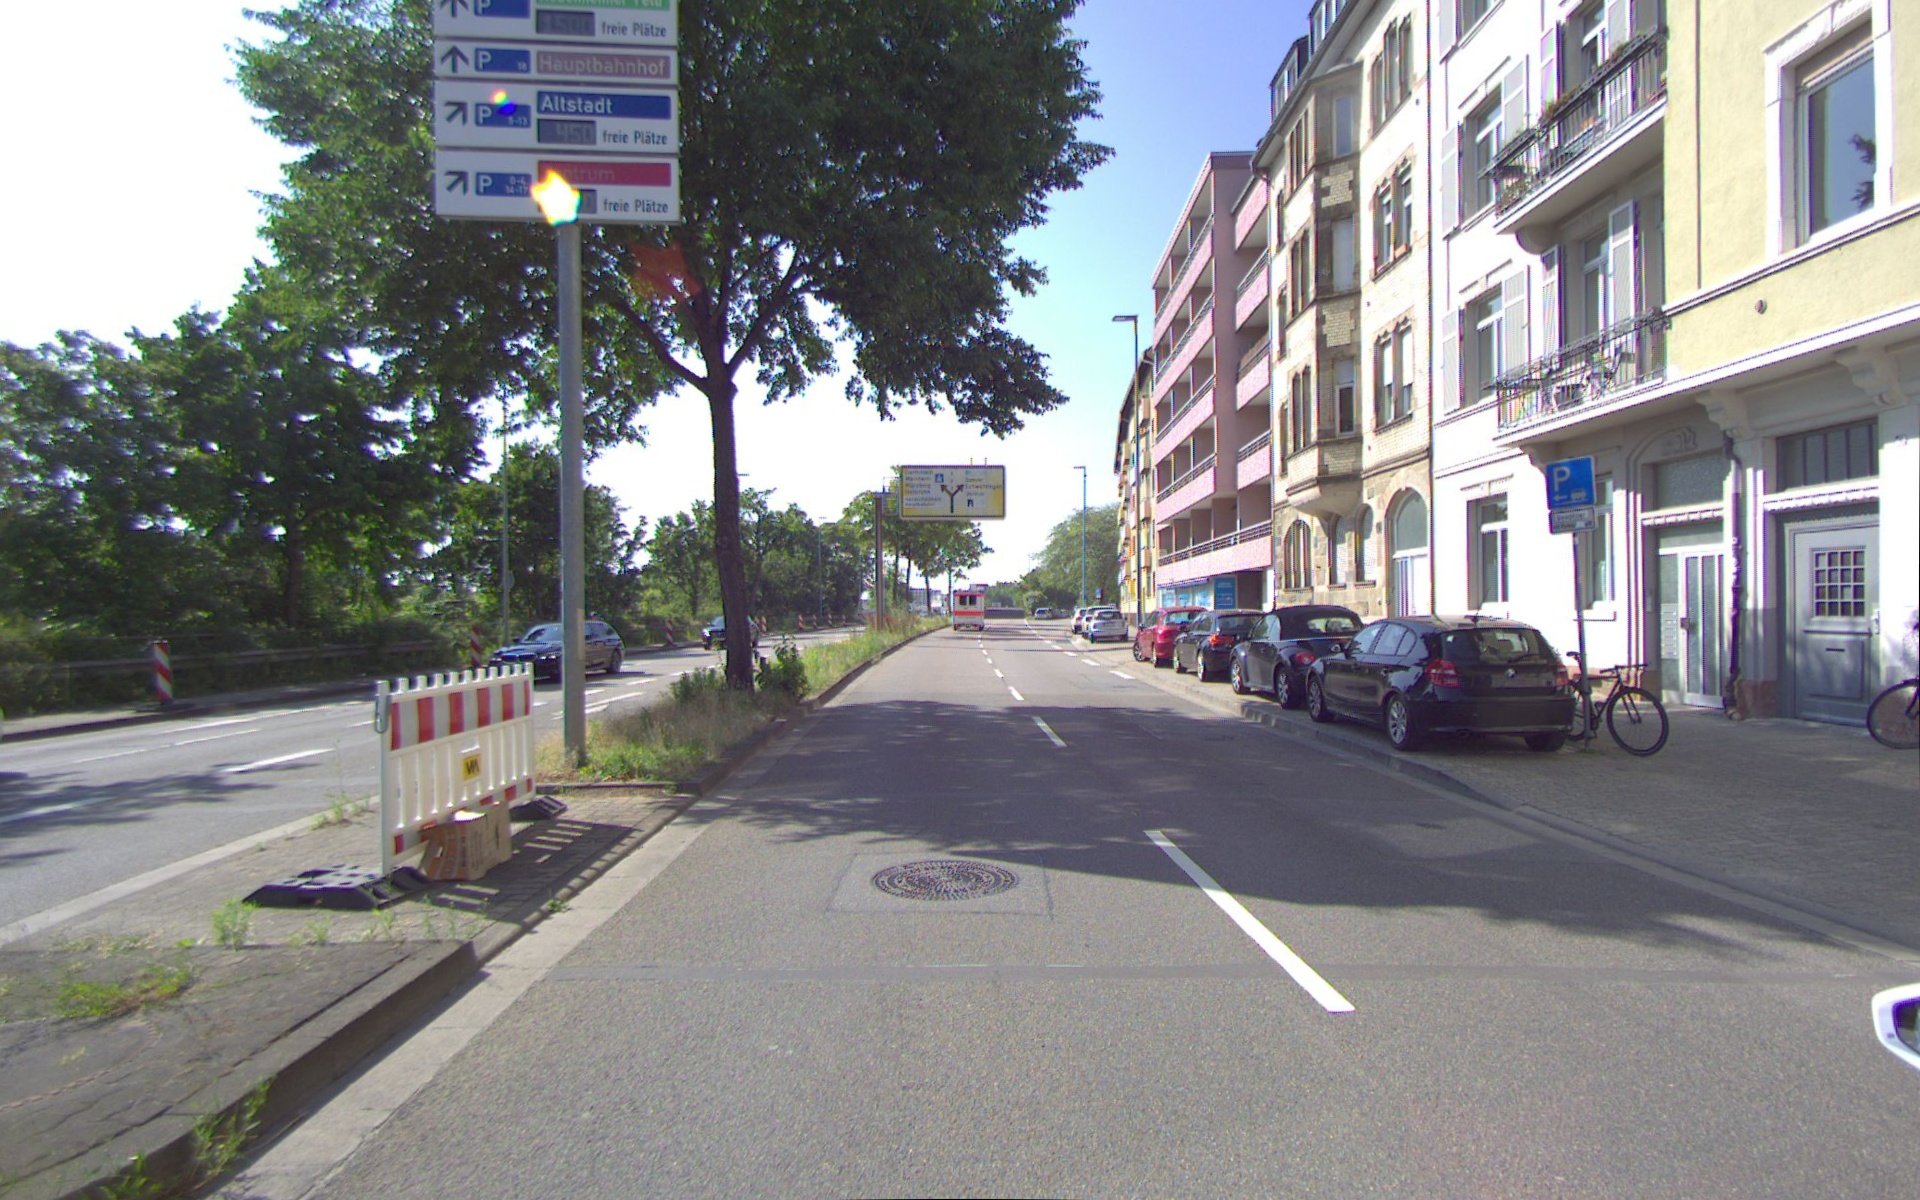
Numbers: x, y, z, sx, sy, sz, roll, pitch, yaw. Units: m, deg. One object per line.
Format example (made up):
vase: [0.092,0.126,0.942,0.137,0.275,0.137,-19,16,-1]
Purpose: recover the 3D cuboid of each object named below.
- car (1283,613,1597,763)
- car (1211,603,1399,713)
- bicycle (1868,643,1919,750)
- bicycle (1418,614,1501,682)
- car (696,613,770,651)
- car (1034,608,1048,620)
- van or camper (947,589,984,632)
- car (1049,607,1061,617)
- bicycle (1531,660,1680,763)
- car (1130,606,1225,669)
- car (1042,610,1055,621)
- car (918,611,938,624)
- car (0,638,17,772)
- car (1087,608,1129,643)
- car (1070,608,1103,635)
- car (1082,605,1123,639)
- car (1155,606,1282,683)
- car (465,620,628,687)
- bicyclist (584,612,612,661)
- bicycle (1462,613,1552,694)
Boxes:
car: [5.347,0.887,11.853,1.712,1.435,4.081,-1,-1,-1]
car: [5.419,0.852,16.326,1.615,1.521,4.010,-2,-1,-1]
bicycle: [9.266,0.903,8.820,0.598,0.958,2.114,-2,0,-2]
bicycle: [9.199,0.859,18.571,0.644,1.161,1.626,-2,0,-2]
car: [-10.205,1.410,45.512,1.960,1.548,4.700,-2,-1,4]
car: [10.604,1.791,131.043,1.592,1.525,3.463,1,0,9]
van or camper: [0.422,0.709,68.764,2.258,2.826,5.572,-1,-1,2]
car: [15.370,1.903,162.278,1.635,1.532,3.791,2,0,9]
bicycle: [6.665,1.122,10.466,0.440,0.903,1.581,-2,-1,-3]
car: [5.675,0.941,26.639,1.755,1.502,4.001,-2,-1,2]
car: [12.494,2.179,140.982,1.741,1.600,4.188,-1,-1,6]
car: [-4.048,2.211,128.647,1.618,1.434,3.972,-6,0,11]
car: [-11.472,1.161,9.127,1.833,1.472,4.204,-2,-1,-1]
car: [6.567,1.103,44.819,1.650,1.427,3.432,-2,0,5]
car: [7.490,1.273,59.548,1.726,1.526,4.129,1,-1,5]
car: [6.977,1.063,49.470,1.707,1.562,4.356,-1,-1,5]
car: [5.430,0.888,21.584,1.615,1.472,4.126,-1,-1,-1]
car: [-10.236,1.264,25.332,1.960,1.430,4.617,-2,-1,3]
bicyclist: [-11.761,1.182,32.645,0.563,1.554,0.779,-1,0,3]
bicycle: [9.092,0.863,16.762,0.556,1.196,1.625,-2,2,-2]
